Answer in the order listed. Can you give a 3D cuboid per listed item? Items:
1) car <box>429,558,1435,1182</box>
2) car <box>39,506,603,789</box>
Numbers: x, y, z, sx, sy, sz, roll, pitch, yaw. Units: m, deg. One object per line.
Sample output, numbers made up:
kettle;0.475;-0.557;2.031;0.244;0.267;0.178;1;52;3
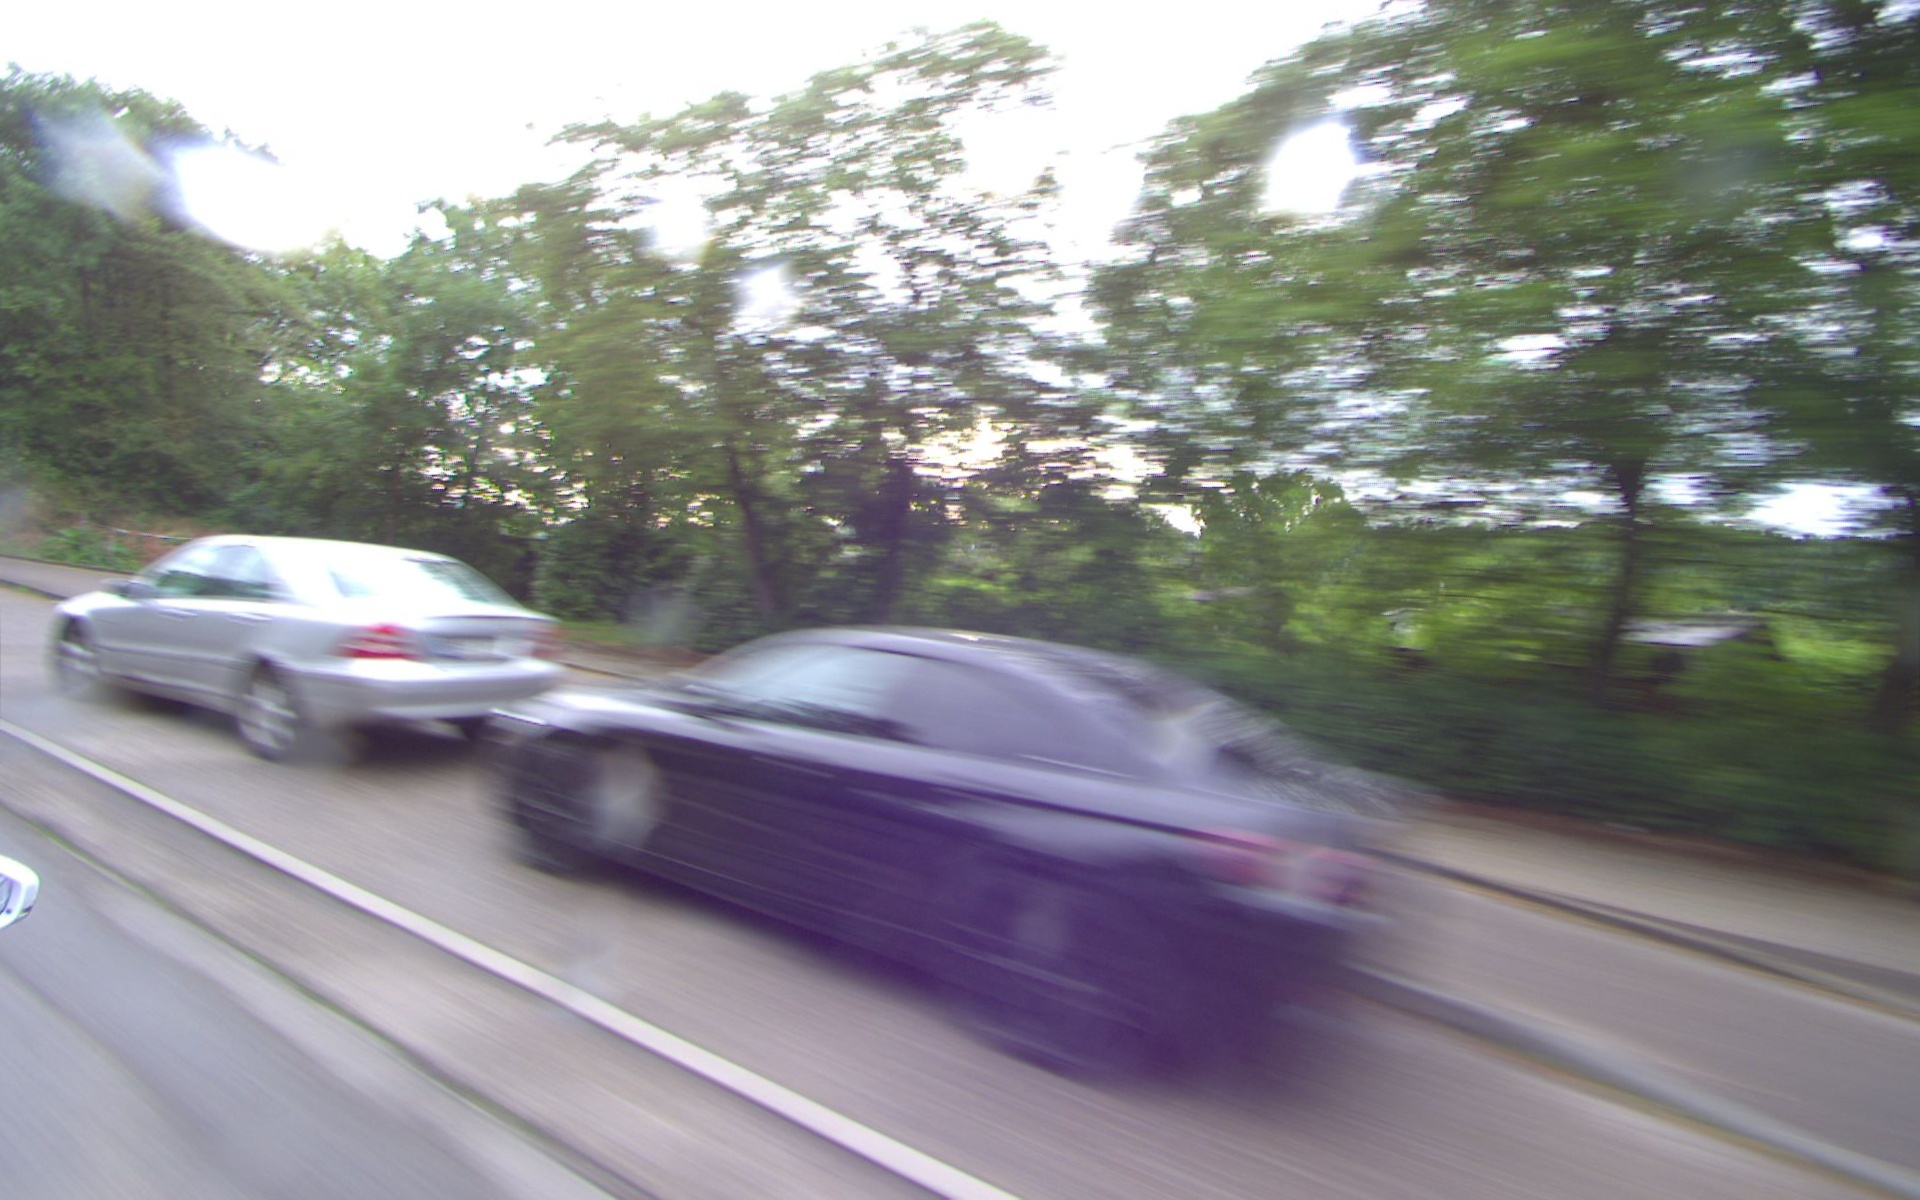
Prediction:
car;-0.370;0.774;4.914;4.590;1.530;1.806;6;2;32
car;-4.965;0.232;7.731;4.147;1.487;1.747;6;1;27
